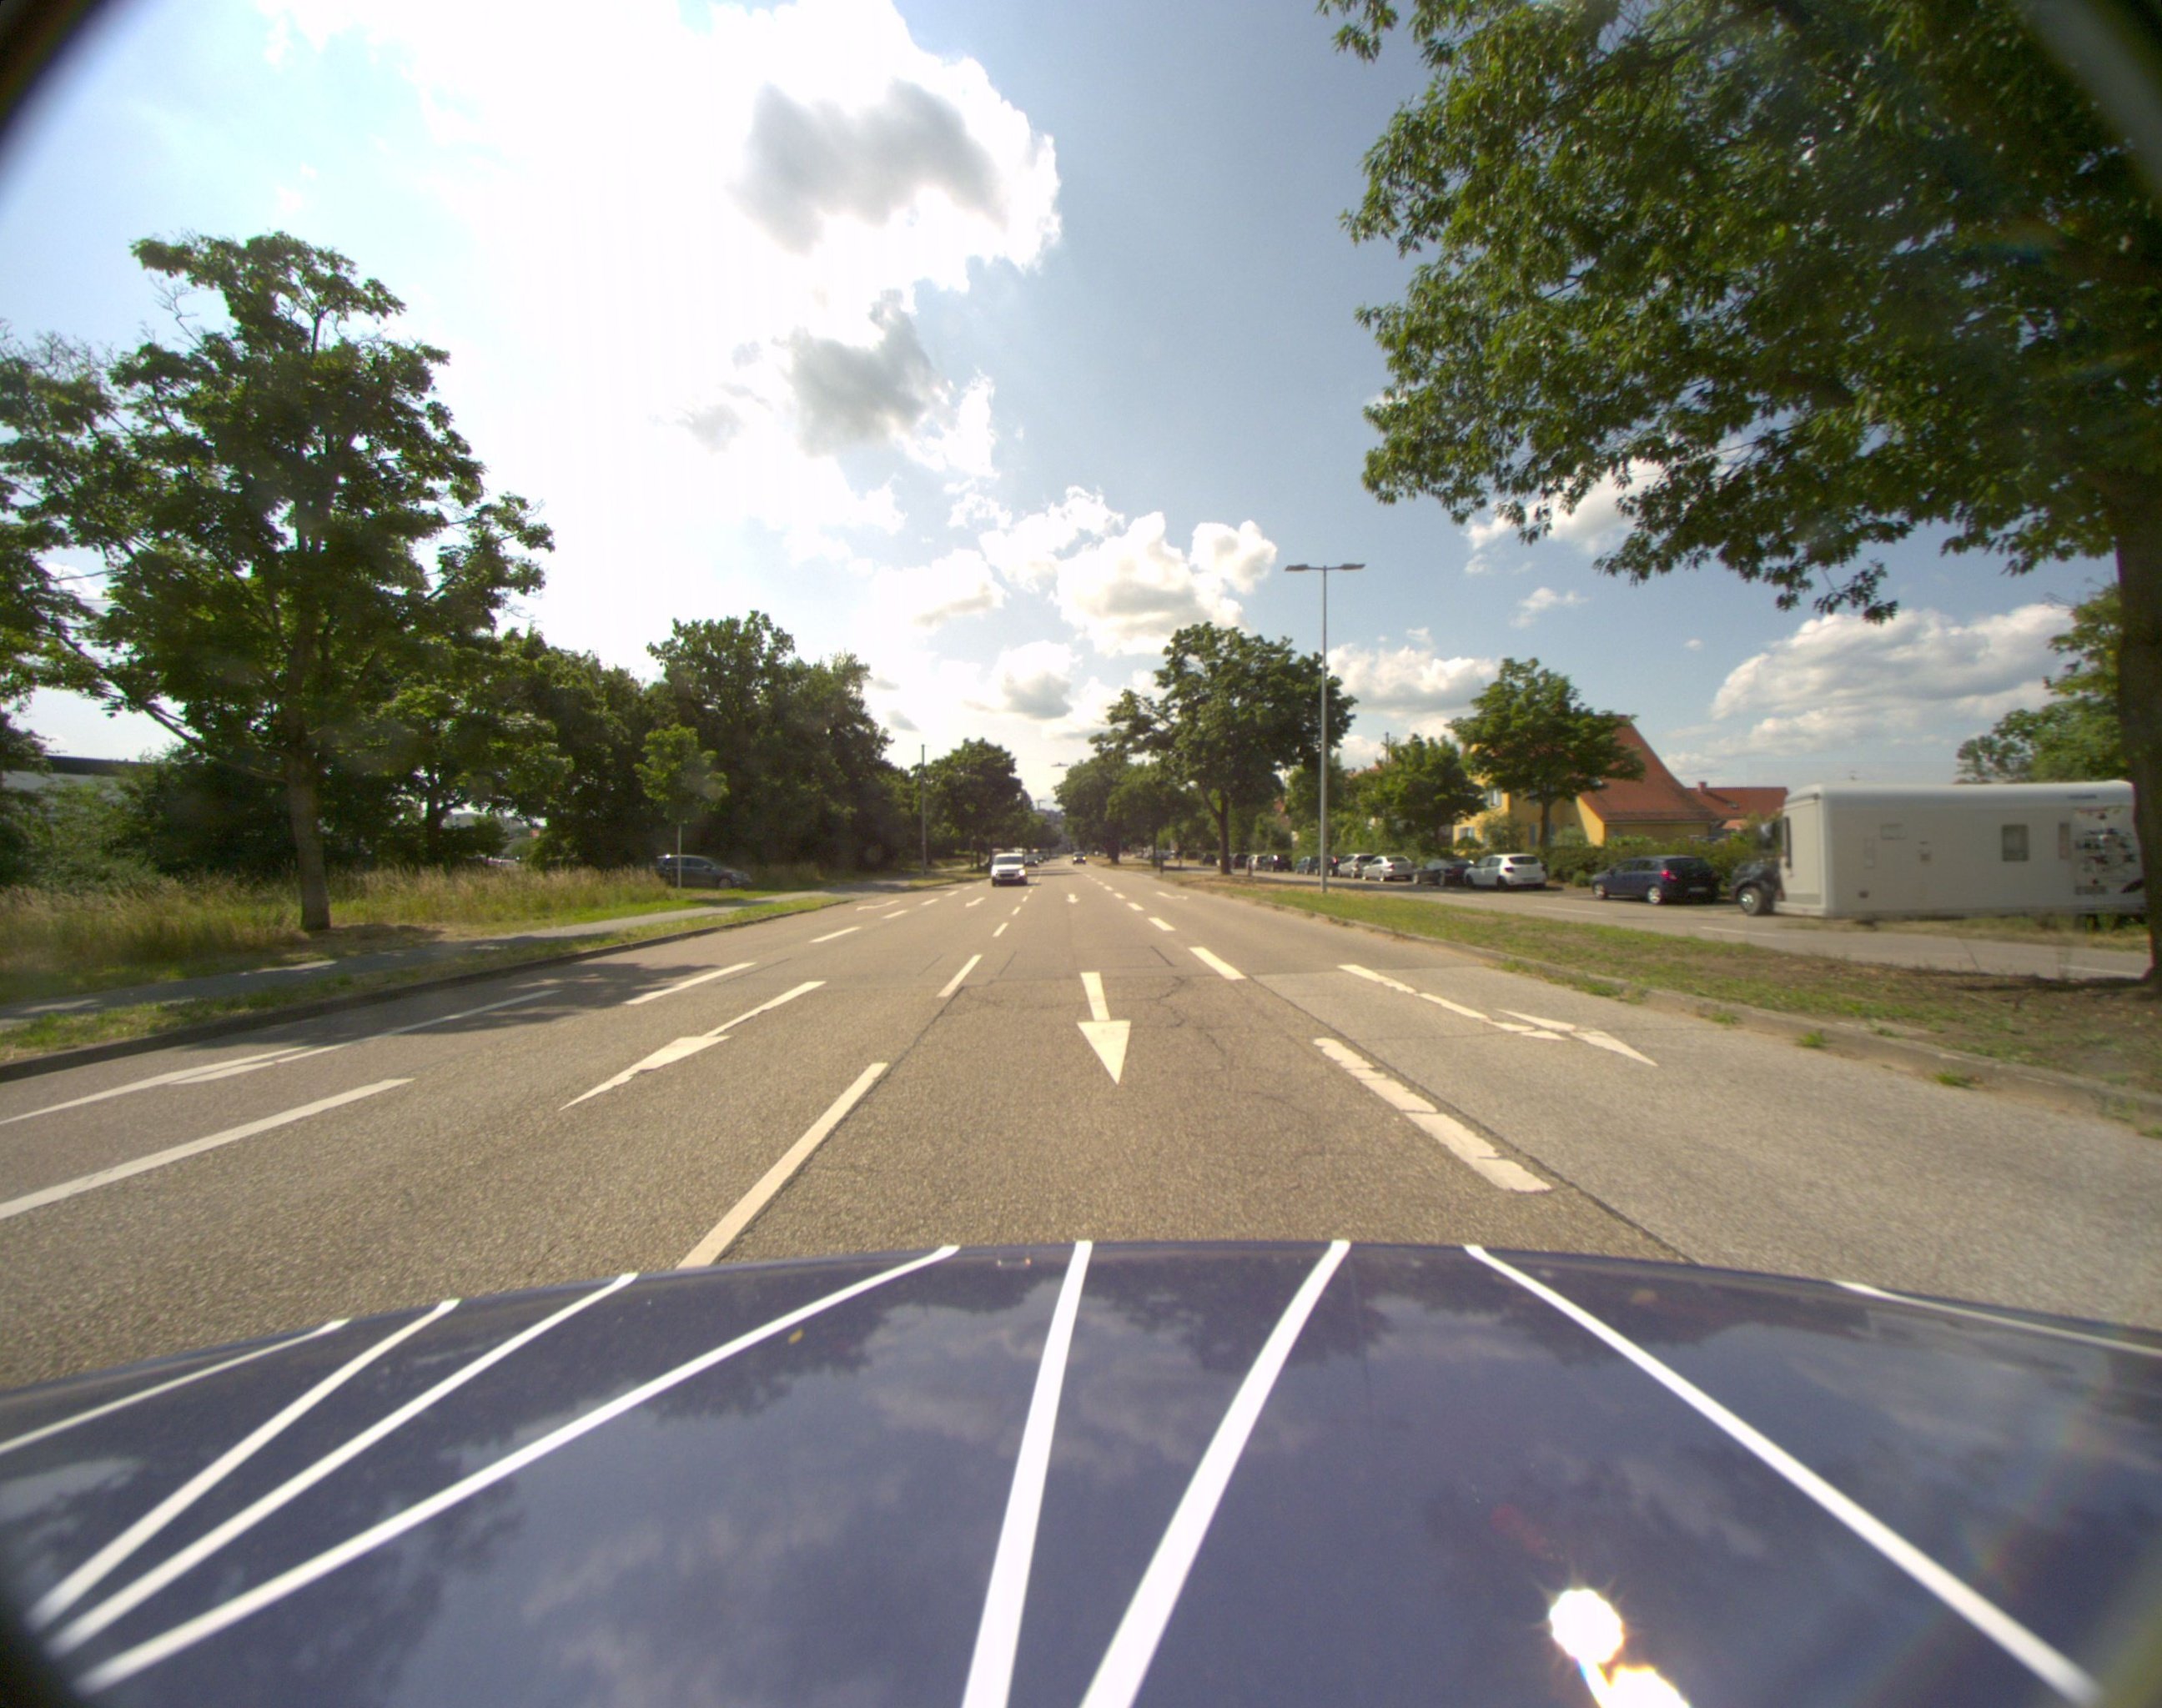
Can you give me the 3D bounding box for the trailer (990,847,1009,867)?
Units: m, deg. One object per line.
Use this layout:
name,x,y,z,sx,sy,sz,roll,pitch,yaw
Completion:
trailer,-9.821,0.290,91.689,1.958,2.338,4.604,1,1,-3

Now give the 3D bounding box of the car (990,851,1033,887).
car,-3.768,0.784,42.032,1.936,1.774,4.715,-3,0,0

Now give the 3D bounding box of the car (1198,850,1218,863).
car,16.559,0.332,99.285,1.772,1.543,3.998,-3,1,-2

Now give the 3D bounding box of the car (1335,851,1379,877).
car,17.878,0.600,49.373,1.406,1.548,3.741,-3,1,-1

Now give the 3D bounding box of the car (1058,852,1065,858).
car,-5.303,0.260,204.460,1.799,1.501,4.000,-1,0,0

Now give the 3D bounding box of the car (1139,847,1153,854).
car,16.268,-0.907,190.352,1.668,1.456,3.827,-1,2,40

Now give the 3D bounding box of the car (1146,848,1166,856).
car,16.342,-0.402,165.232,3.997,1.502,1.799,-3,1,-1

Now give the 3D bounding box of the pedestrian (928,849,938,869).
pedestrian,-13.690,0.472,70.431,0.719,1.784,0.739,-3,2,-2

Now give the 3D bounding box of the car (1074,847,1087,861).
car,-0.035,-0.028,106.566,1.768,1.893,4.540,-3,1,0

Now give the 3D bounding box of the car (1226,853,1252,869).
car,17.079,0.754,82.389,1.665,1.603,4.312,-3,1,-2

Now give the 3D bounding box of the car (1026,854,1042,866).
car,-5.806,0.687,94.724,1.892,1.281,3.998,-3,1,-2

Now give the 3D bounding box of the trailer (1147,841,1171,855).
trailer,18.254,-1.473,177.289,2.820,3.090,5.764,-2,0,37

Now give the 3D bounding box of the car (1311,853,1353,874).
car,17.763,0.641,53.920,1.406,1.387,4.356,-3,0,-1

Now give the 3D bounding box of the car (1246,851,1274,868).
car,17.523,0.508,74.713,1.665,1.443,3.845,-3,1,-2

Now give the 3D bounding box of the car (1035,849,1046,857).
car,-7.253,-0.160,136.150,1.892,1.281,3.998,-3,1,-2

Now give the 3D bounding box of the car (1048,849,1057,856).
car,-6.059,-0.403,160.721,1.892,1.281,3.998,-3,1,-2

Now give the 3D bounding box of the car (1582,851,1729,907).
car,18.066,0.726,24.150,1.640,1.477,3.991,-3,1,0

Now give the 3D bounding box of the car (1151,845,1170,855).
car,16.780,-0.816,160.371,4.007,2.002,1.800,-4,2,-44

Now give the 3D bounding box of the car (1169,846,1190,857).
car,18.368,-0.446,142.043,4.008,1.849,1.800,-2,0,-44

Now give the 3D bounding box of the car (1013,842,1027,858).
car,-11.329,-0.769,140.650,2.262,2.787,6.765,2,1,-2

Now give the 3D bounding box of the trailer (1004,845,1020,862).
trailer,-10.209,-0.072,112.503,1.999,2.352,4.780,3,1,-2

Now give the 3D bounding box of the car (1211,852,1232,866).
car,16.399,0.582,88.871,1.598,1.453,3.533,-3,1,-2

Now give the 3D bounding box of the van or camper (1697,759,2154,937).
van or camper,18.069,-0.100,17.252,2.264,3.094,7.320,-3,0,1

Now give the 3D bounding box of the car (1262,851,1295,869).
car,17.468,0.550,67.504,1.665,1.473,4.102,-3,0,-2

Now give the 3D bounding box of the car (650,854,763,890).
car,-16.961,0.820,34.559,4.175,1.484,1.784,2,-1,-5

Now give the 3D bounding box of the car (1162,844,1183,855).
car,18.294,-0.959,151.765,4.007,2.002,1.800,-4,2,-44

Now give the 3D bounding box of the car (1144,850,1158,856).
car,18.029,-0.371,195.881,1.668,1.341,3.827,-2,2,40

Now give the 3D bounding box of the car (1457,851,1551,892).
car,18.037,0.699,32.627,1.693,1.477,4.123,-3,1,0

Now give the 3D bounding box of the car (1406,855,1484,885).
car,17.936,0.741,37.690,1.640,1.298,4.584,-3,0,0

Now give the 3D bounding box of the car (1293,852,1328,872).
car,17.801,0.620,58.985,1.566,1.387,3.476,-3,1,-1

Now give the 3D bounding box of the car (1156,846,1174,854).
car,17.516,-0.792,157.868,4.007,1.390,1.569,-4,2,-44

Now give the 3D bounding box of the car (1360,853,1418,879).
car,17.839,0.673,44.156,1.514,1.362,4.531,-3,0,0

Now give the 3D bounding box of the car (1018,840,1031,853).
car,-11.436,-1.600,154.368,2.262,2.526,6.765,1,1,-2
